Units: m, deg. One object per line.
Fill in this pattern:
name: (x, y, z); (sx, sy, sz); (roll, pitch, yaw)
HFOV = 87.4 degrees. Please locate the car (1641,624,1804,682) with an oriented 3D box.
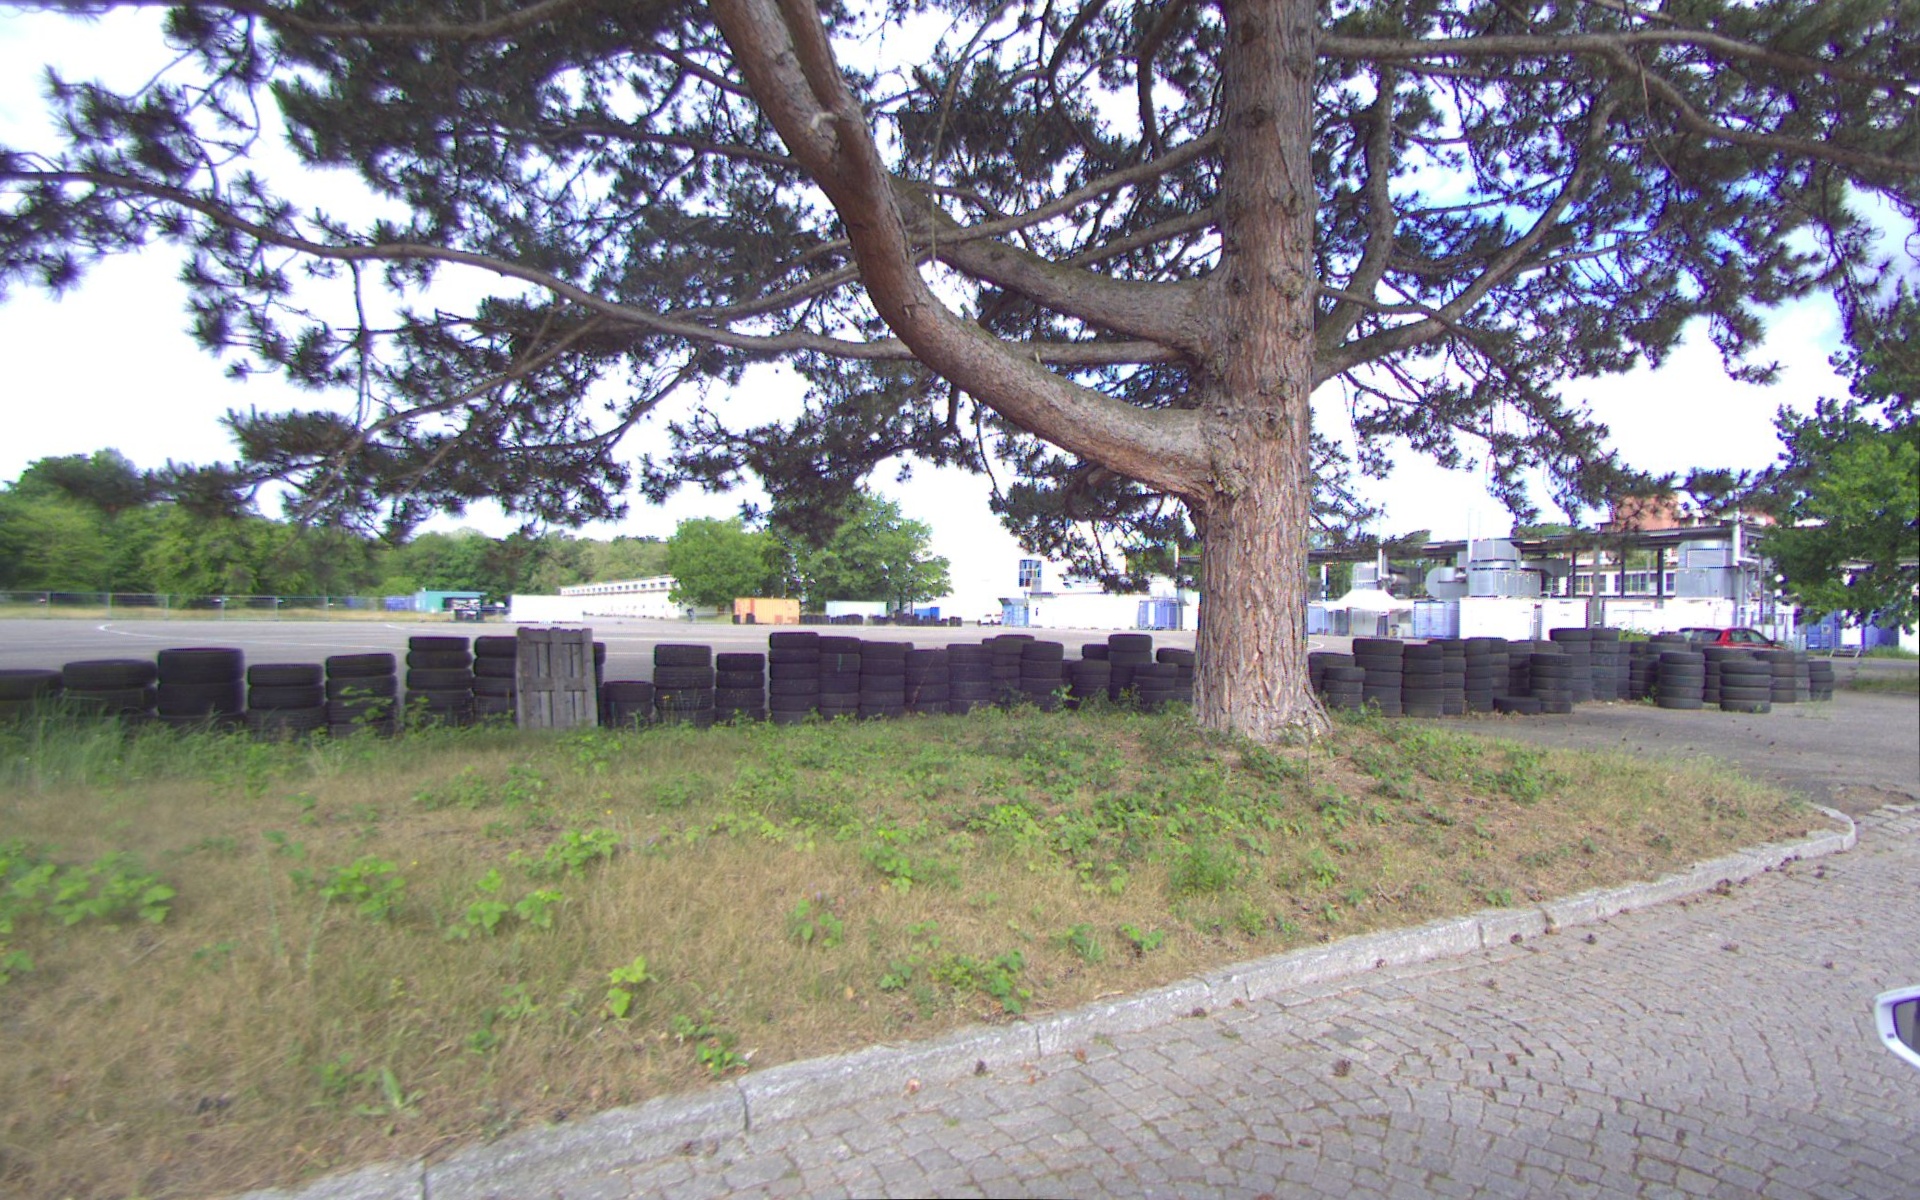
car: (20.866, 1.412, 27.483); (4.160, 1.451, 1.819); (1, -1, -25)
